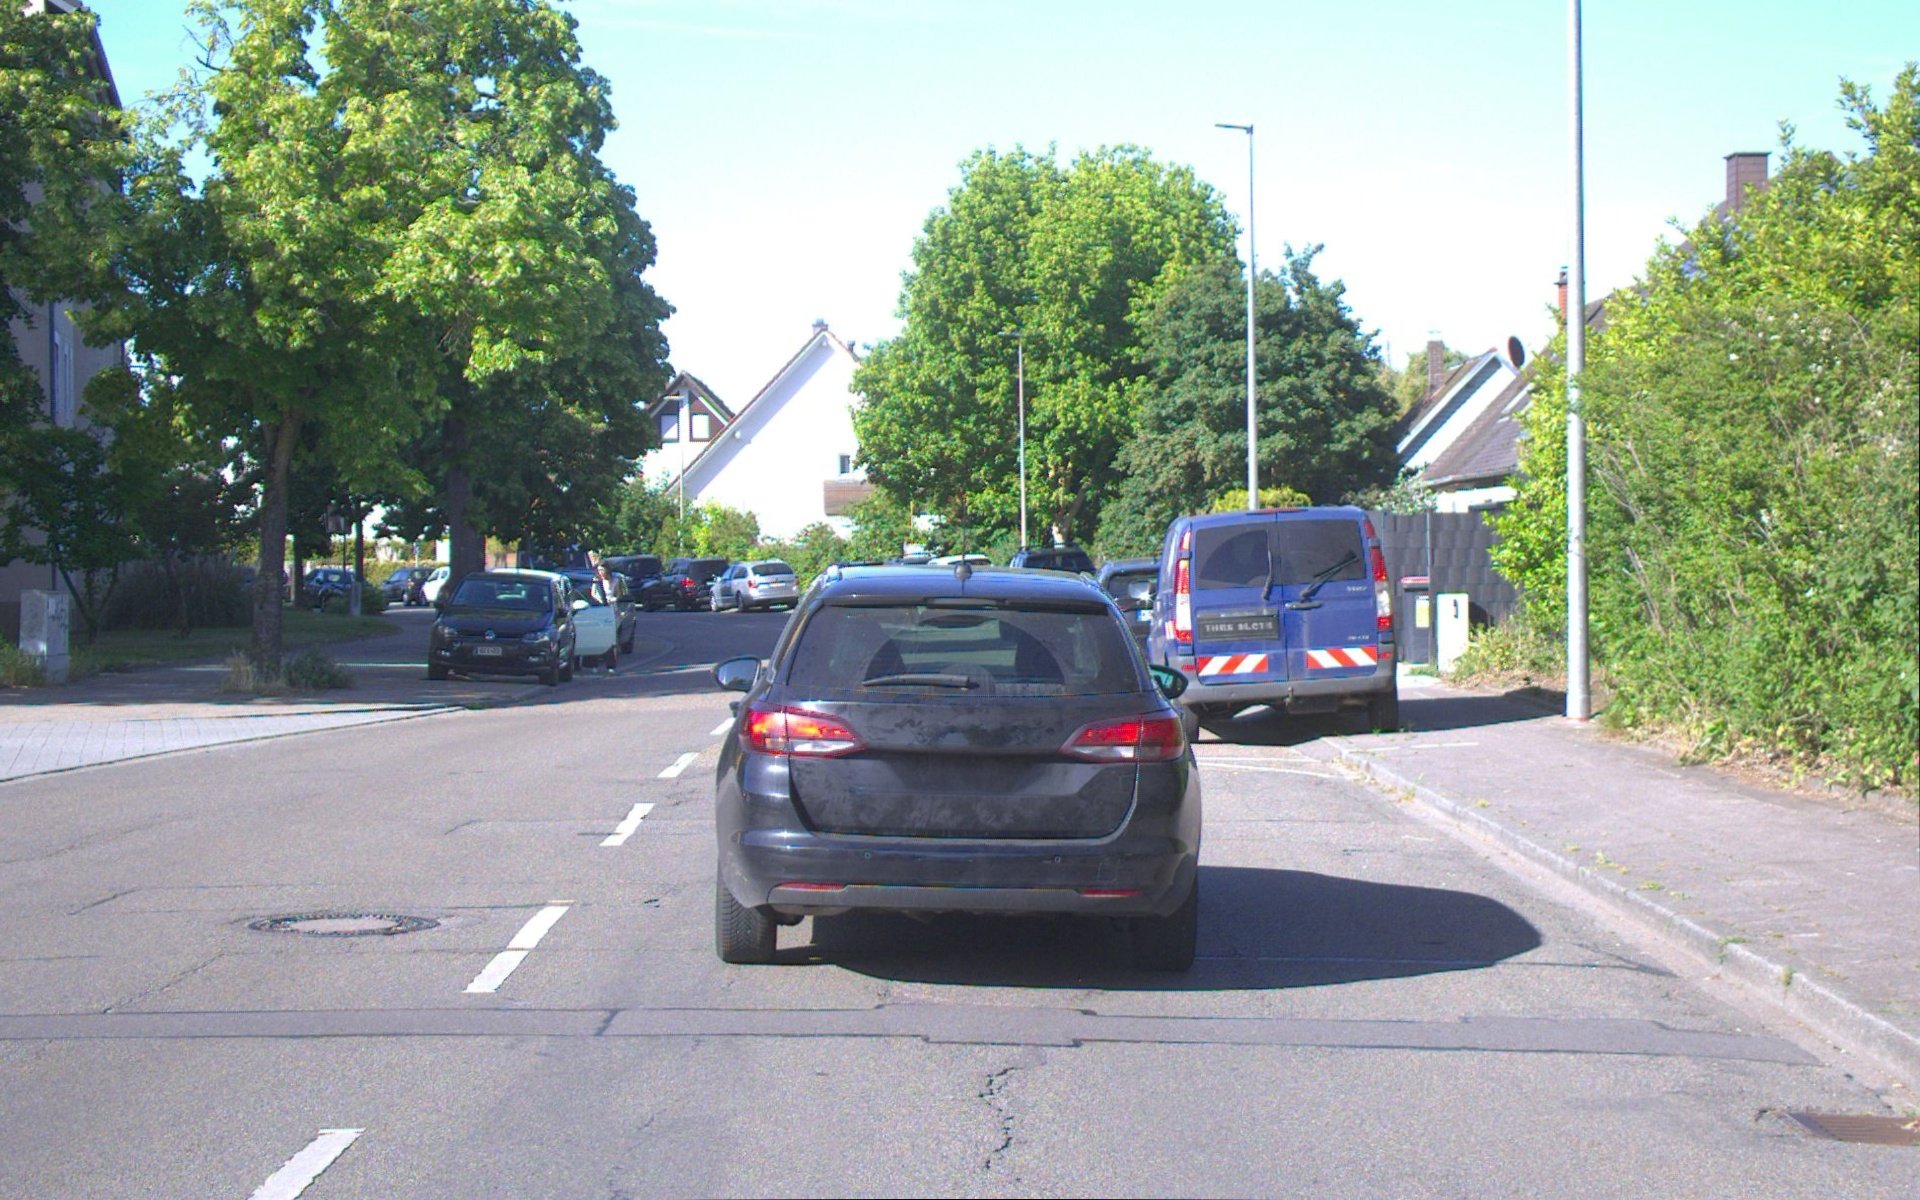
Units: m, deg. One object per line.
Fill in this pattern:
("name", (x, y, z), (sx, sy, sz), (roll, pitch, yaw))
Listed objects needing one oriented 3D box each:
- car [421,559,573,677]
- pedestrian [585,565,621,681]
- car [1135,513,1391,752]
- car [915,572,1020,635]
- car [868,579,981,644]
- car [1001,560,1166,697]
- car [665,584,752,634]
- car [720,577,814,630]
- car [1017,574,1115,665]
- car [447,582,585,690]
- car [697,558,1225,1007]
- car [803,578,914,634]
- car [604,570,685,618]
("car", (-6.209, 0.277, 46.425), (1.700, 1.475, 4.052), (2, -1, -3))
("pedestrian", (-5.460, 0.359, 52.597), (0.504, 1.755, 0.695), (-1, -2, -4))
("car", (2.559, 0.244, 30.035), (1.836, 1.901, 4.698), (0, 0, 0))
("car", (0.155, 0.085, 83.411), (1.760, 1.475, 4.295), (-1, 0, -10))
("car", (-0.947, 0.292, 88.053), (1.911, 1.595, 4.295), (-1, 0, -14))
("car", (1.405, 0.289, 40.732), (1.765, 1.475, 4.991), (-1, 1, 0))
("car", (-7.904, 0.276, 107.591), (1.819, 1.529, 4.260), (-1, 0, -17))
("car", (-5.767, 0.112, 102.383), (1.819, 1.529, 4.260), (-1, 0, -17))
("car", (2.062, 0.374, 67.713), (1.778, 1.718, 4.294), (-1, 0, 0))
("car", (-6.673, 0.560, 51.979), (1.700, 1.518, 4.052), (-1, -1, -2))
("car", (-0.011, 0.622, 13.750), (1.761, 1.486, 4.291), (1, 0, 0))
("car", (-2.781, 0.160, 93.457), (2.005, 1.470, 4.295), (-1, 0, -16))
("car", (-10.398, -0.172, 112.942), (1.819, 1.529, 4.260), (-1, 0, -17))
